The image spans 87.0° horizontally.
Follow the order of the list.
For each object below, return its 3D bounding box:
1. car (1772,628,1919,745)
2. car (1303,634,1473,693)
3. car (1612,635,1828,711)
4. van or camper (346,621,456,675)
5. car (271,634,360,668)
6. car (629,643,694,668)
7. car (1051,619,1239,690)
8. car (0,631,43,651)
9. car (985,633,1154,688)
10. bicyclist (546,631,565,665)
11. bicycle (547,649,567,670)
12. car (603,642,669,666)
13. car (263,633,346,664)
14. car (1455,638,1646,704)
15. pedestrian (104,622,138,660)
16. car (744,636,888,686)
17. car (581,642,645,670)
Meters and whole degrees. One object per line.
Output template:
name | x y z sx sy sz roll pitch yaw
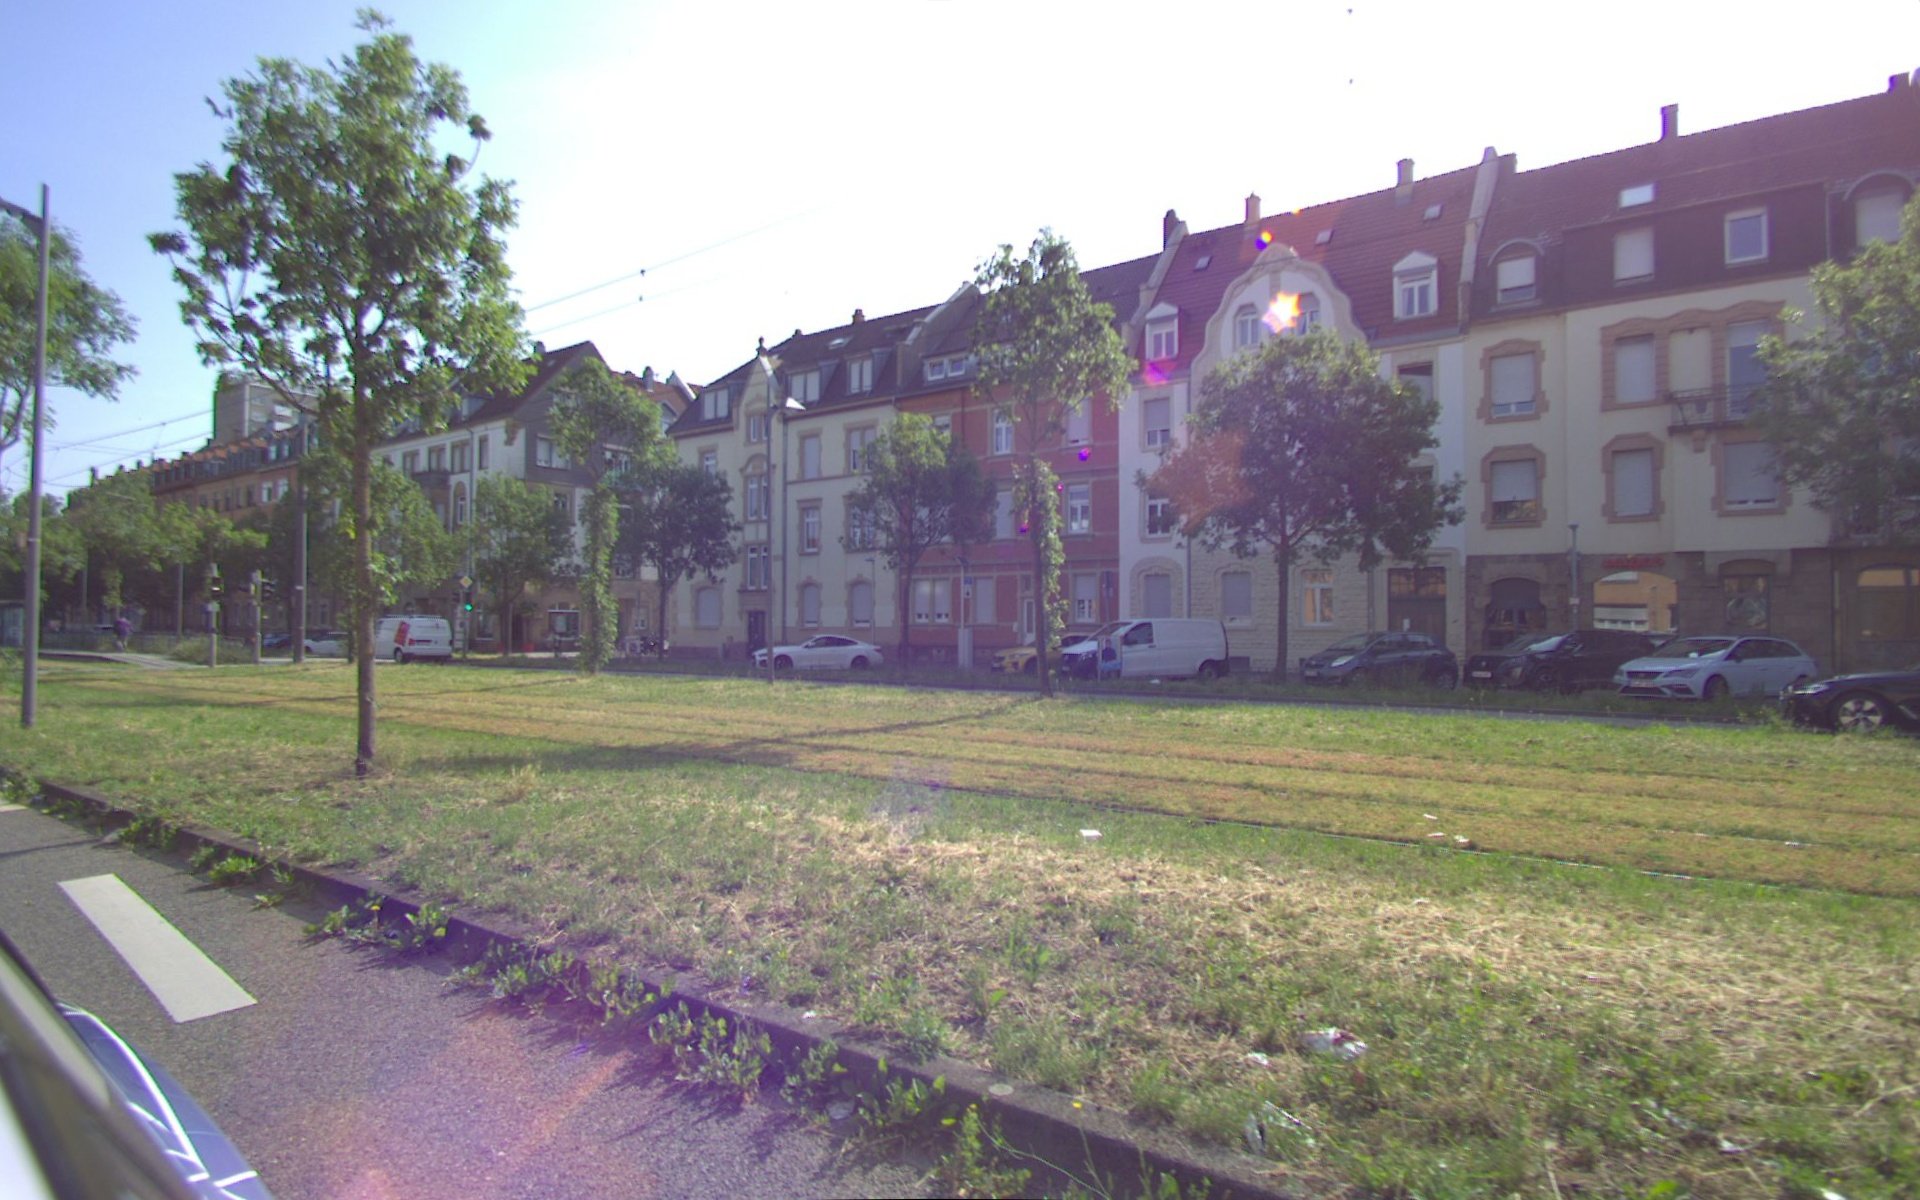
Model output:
car | 14.959 1.257 14.272 5.371 1.642 1.975 -1 -4 37
car | 10.189 1.491 24.118 3.623 1.251 1.530 -1 -3 -20
car | 14.968 1.380 19.952 3.623 1.251 1.667 -1 0 -20
van or camper | -23.484 1.954 42.445 5.341 2.113 1.934 -1 0 35
car | -36.728 2.878 57.792 3.931 1.739 2.006 -1 0 -20
car | -17.976 3.306 60.896 3.992 1.423 1.653 -1 -3 36
car | 5.168 1.459 28.307 4.867 1.739 1.863 -1 0 -20
car | -71.103 3.107 76.453 4.415 1.451 1.755 -1 -4 36
car | 3.247 1.750 30.075 4.619 1.358 1.863 -1 0 -20
bicyclist | -19.579 2.298 48.958 0.834 1.570 0.905 -1 0 -23
bicycle | -19.526 2.869 48.989 0.843 0.872 2.026 -1 0 -23
car | -19.019 3.164 59.393 3.992 1.309 1.653 -1 -3 36
car | -39.958 2.939 61.792 3.931 1.739 2.006 -1 0 -20
car | 12.993 1.514 22.284 3.623 1.251 1.667 -1 -1 -20
pedestrian | -37.005 1.796 44.636 0.850 1.667 0.877 -1 -3 32
car | -5.115 2.128 35.865 4.695 1.496 2.030 -1 0 -22
car | -22.946 3.677 67.084 1.601 1.595 3.780 -1 0 36
